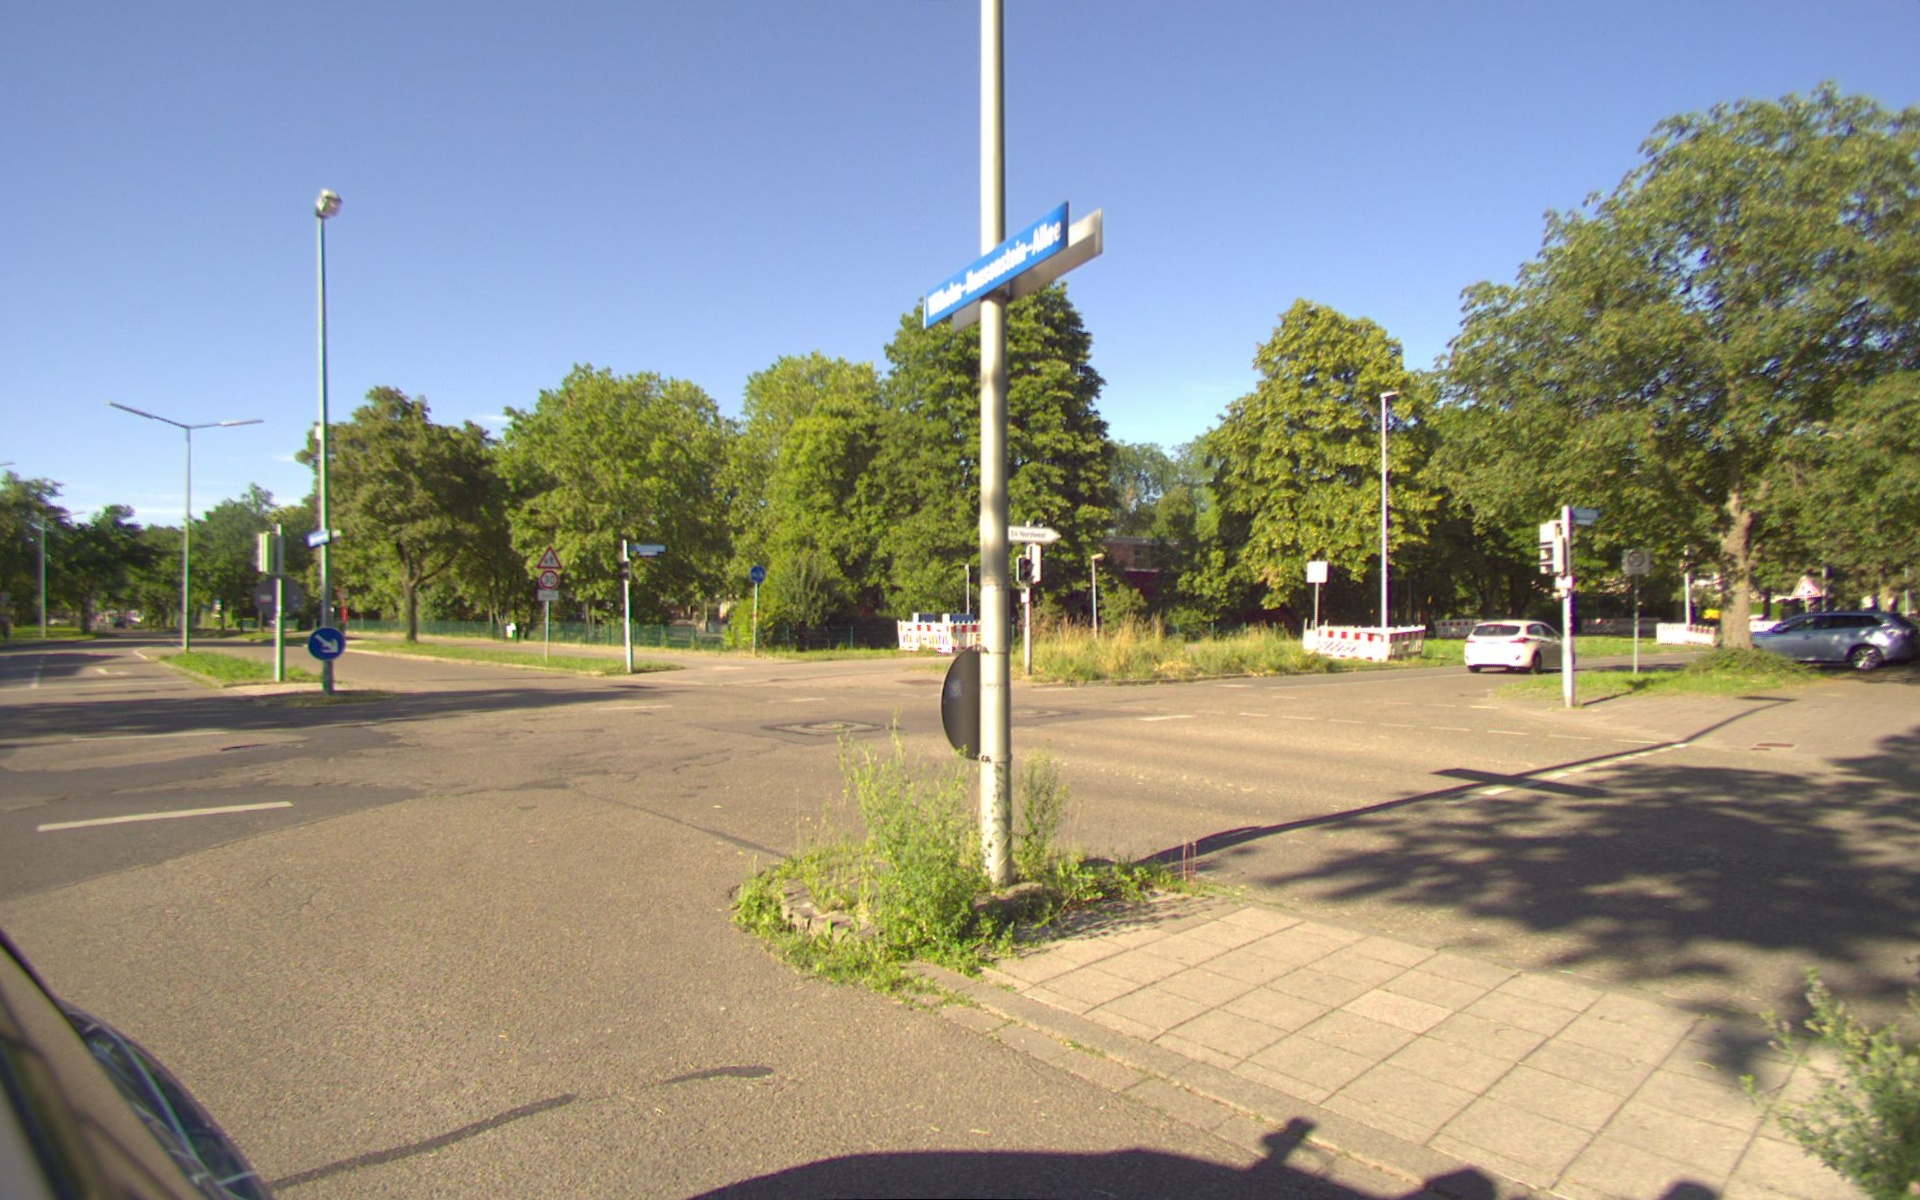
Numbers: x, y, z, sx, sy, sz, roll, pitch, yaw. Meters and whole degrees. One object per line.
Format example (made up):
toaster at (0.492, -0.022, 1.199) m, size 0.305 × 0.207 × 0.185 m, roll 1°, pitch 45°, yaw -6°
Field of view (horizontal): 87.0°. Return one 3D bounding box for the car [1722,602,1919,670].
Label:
car at (24.759, 0.995, 28.810) m, size 1.824 × 1.796 × 4.524 m, roll 1°, pitch -1°, yaw -35°

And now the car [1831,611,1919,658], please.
car at (34.591, 1.235, 36.476) m, size 1.824 × 1.642 × 4.524 m, roll 1°, pitch -1°, yaw -35°

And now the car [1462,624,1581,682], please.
car at (16.024, 1.446, 28.822) m, size 3.902 × 1.474 × 1.798 m, roll 0°, pitch -1°, yaw -42°

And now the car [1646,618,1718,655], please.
car at (36.943, 1.826, 51.735) m, size 3.936 × 1.829 × 2.004 m, roll 1°, pitch -1°, yaw -39°
